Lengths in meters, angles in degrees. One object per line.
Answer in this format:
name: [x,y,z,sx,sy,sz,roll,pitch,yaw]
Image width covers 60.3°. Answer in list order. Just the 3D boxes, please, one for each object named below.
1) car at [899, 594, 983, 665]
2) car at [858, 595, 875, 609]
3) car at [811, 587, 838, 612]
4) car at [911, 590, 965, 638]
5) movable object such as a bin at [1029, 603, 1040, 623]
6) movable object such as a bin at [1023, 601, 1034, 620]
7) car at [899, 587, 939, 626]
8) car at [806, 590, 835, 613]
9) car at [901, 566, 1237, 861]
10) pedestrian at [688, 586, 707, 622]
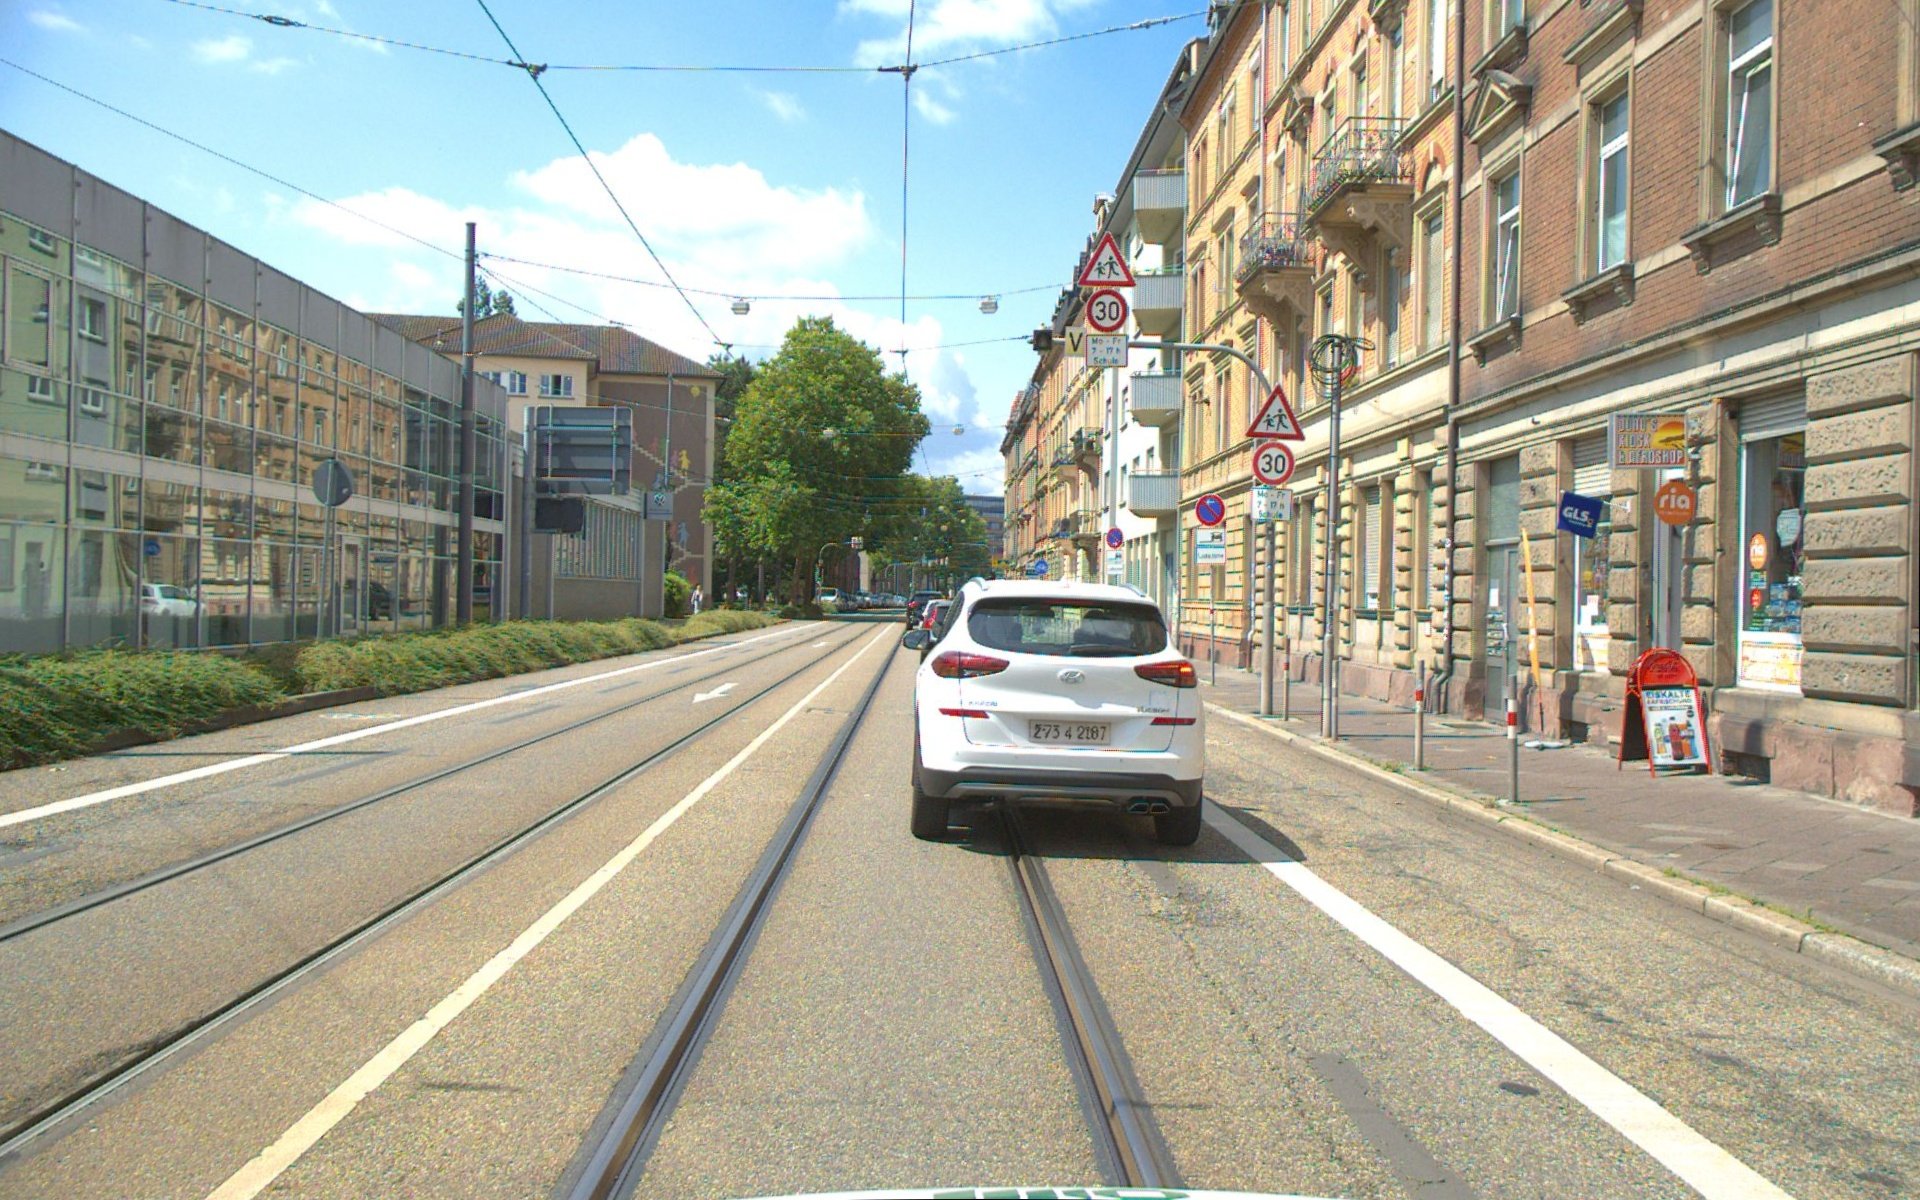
car: [-0.387,0.656,38.796,1.777,1.551,4.086,1,0,2]
car: [-11.209,0.251,198.120,1.911,1.660,3.997,2,0,-4]
car: [-10.982,-0.032,134.138,1.910,1.928,4.564,2,0,-1]
car: [-0.775,0.461,56.707,1.778,1.551,3.954,1,0,-1]
movable object such as a bin: [4.418,0.781,98.445,0.600,1.163,0.638,2,0,-1]
movable object such as a bin: [4.133,0.633,99.869,0.600,1.163,0.638,2,0,-1]
car: [-1.877,0.290,75.757,1.778,1.691,4.084,1,0,-1]
car: [-10.796,0.082,127.972,1.910,1.660,4.574,2,0,-1]
car: [0.569,0.665,11.768,1.815,1.662,4.177,2,0,-4]
pedestrian: [-13.806,0.211,87.058,0.862,1.898,1.080,0,0,-1]
